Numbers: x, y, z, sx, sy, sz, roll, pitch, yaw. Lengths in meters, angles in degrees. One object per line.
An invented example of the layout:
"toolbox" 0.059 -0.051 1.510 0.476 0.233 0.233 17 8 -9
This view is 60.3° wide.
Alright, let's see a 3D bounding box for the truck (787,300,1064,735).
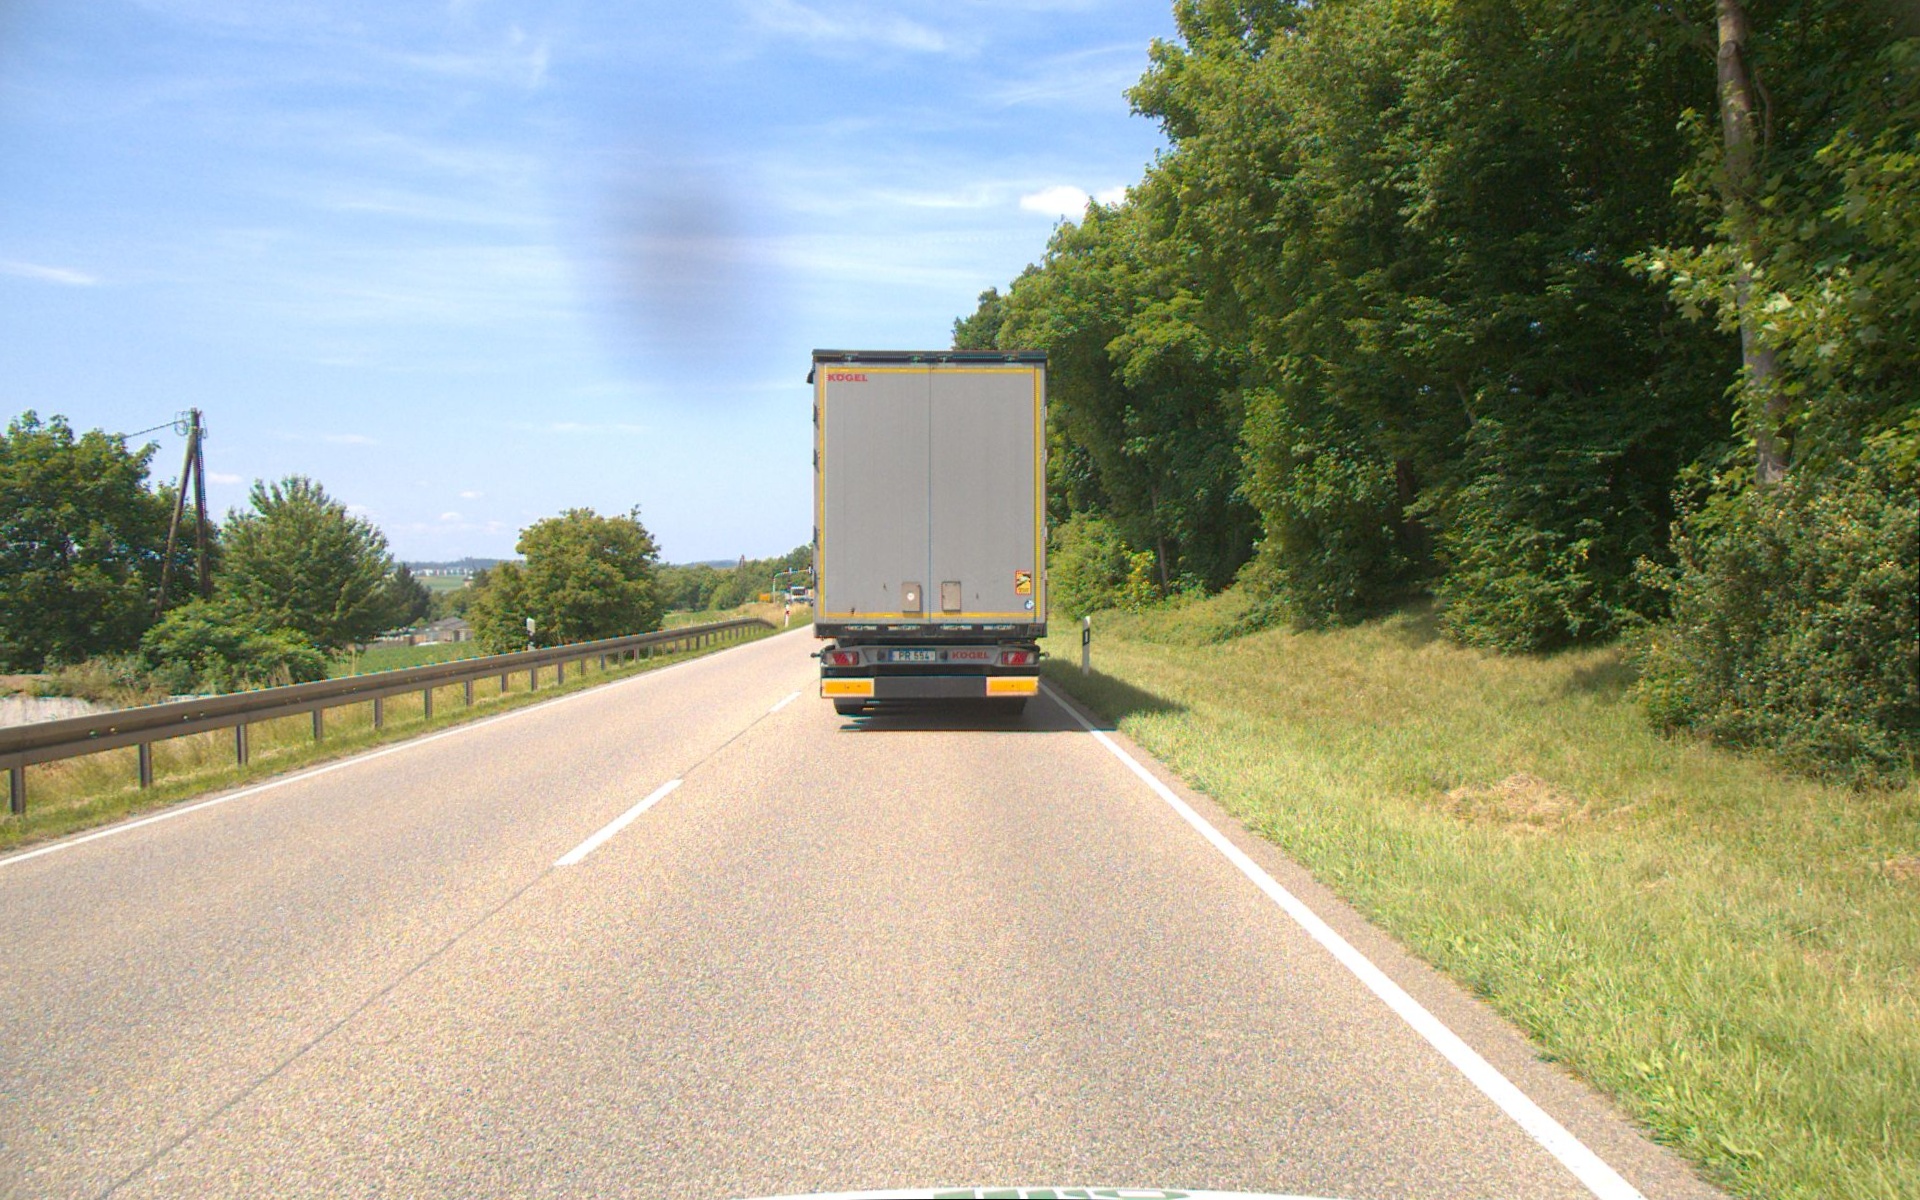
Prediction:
"truck" -0.426 -0.876 21.522 2.848 4.487 8.858 0 0 -1
